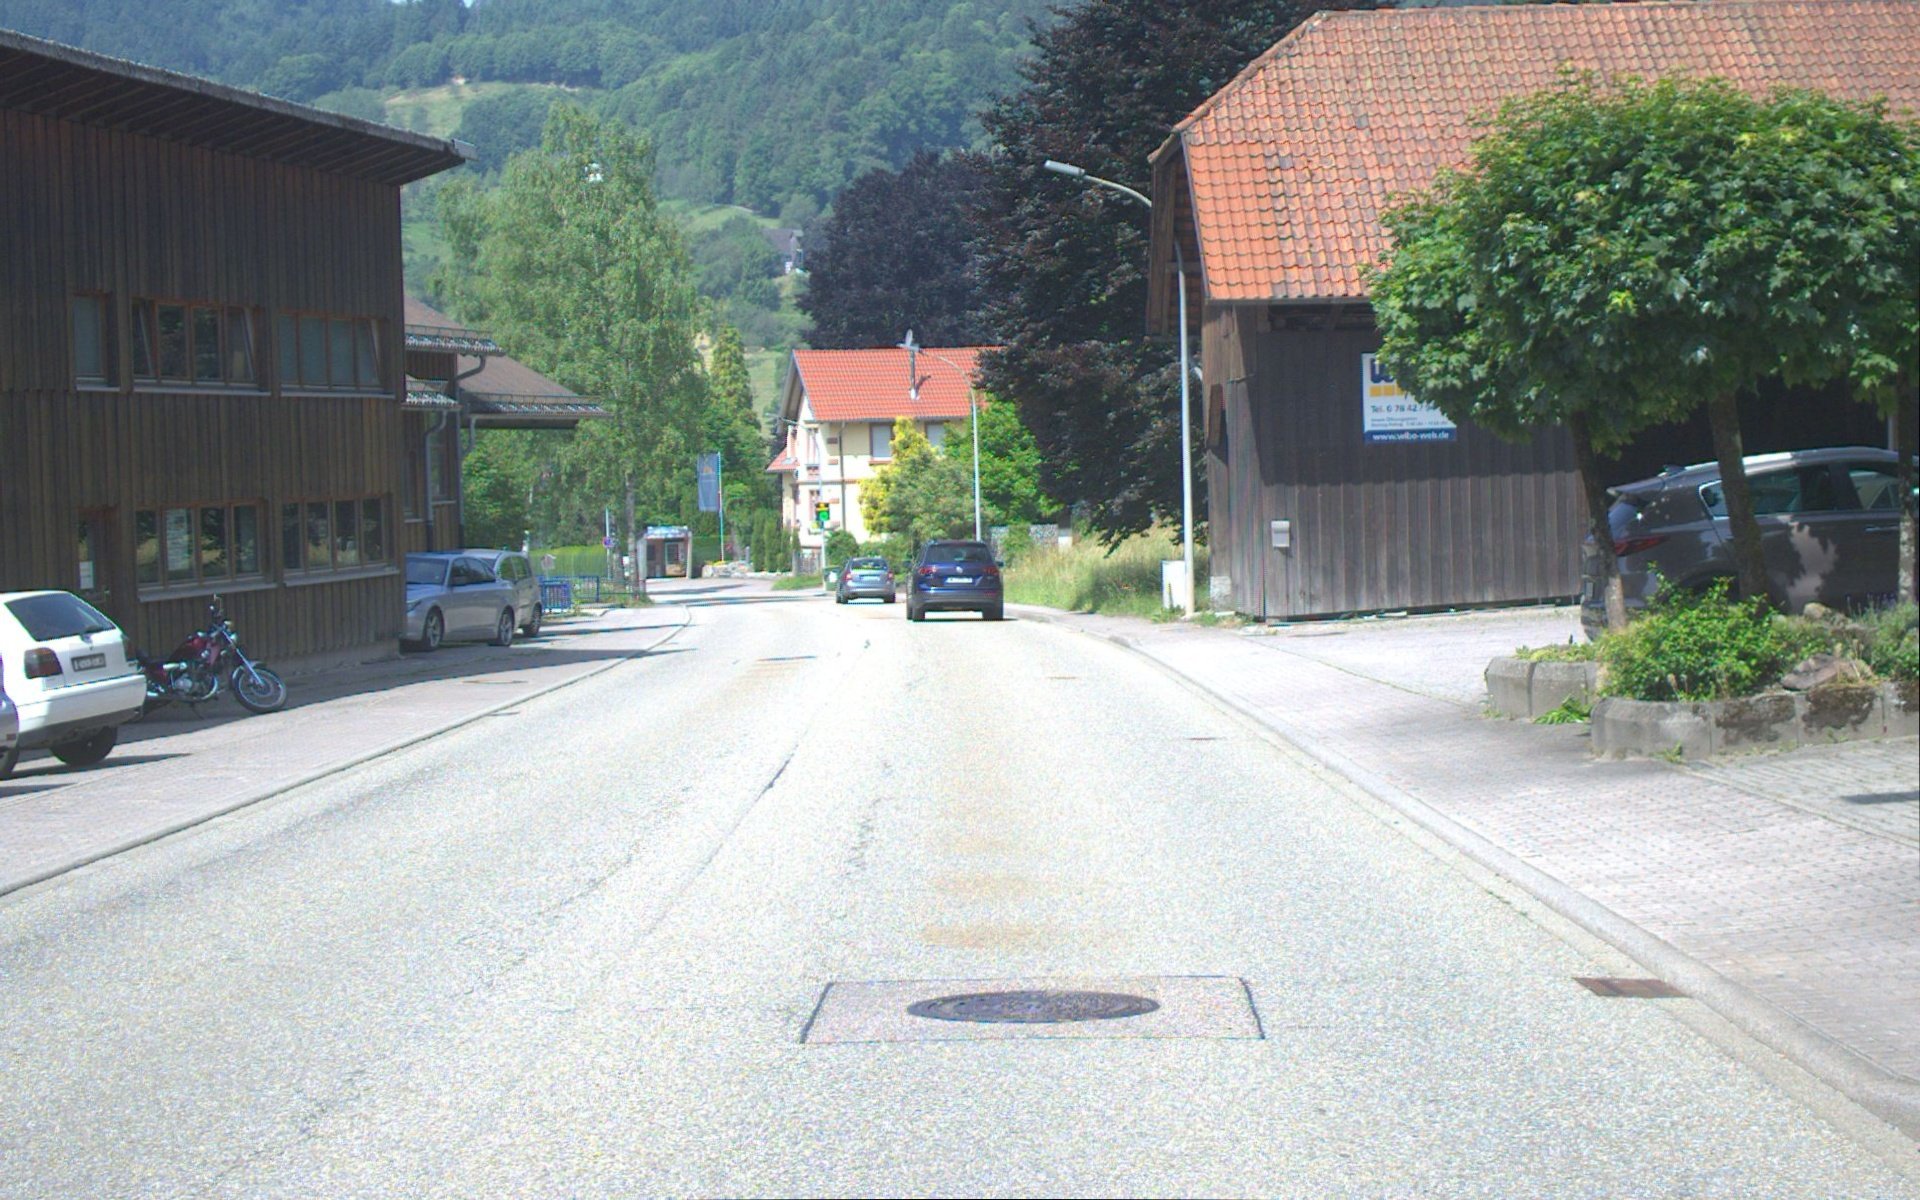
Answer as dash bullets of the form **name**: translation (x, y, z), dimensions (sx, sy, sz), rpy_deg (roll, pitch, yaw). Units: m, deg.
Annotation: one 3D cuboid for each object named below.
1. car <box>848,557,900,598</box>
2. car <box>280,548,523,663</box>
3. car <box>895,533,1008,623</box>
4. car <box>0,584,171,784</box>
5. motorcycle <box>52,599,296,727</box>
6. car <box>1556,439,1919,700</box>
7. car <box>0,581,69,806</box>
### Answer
- **car**: translation (-2.741, -0.717, 109.350), dimensions (1.476, 1.205, 2.384), rpy_deg (-3, 1, -5)
- **car**: translation (-8.099, 0.048, 50.306), dimensions (1.730, 1.449, 4.802), rpy_deg (-1, 2, 14)
- **car**: translation (-0.202, -0.456, 69.418), dimensions (1.919, 1.692, 3.789), rpy_deg (-3, 1, -5)
- **car**: translation (-8.167, 0.762, 26.341), dimensions (3.661, 1.381, 1.710), rpy_deg (-6, 0, 16)
- **motorcycle**: translation (-8.435, 0.671, 36.923), dimensions (2.409, 1.260, 0.743), rpy_deg (-2, 1, 10)
- **car**: translation (6.915, -0.338, 26.569), dimensions (4.221, 1.681, 1.776), rpy_deg (-6, 1, 4)
- **car**: translation (-8.542, 0.824, 23.540), dimensions (4.435, 1.469, 1.922), rpy_deg (-5, 1, 26)
